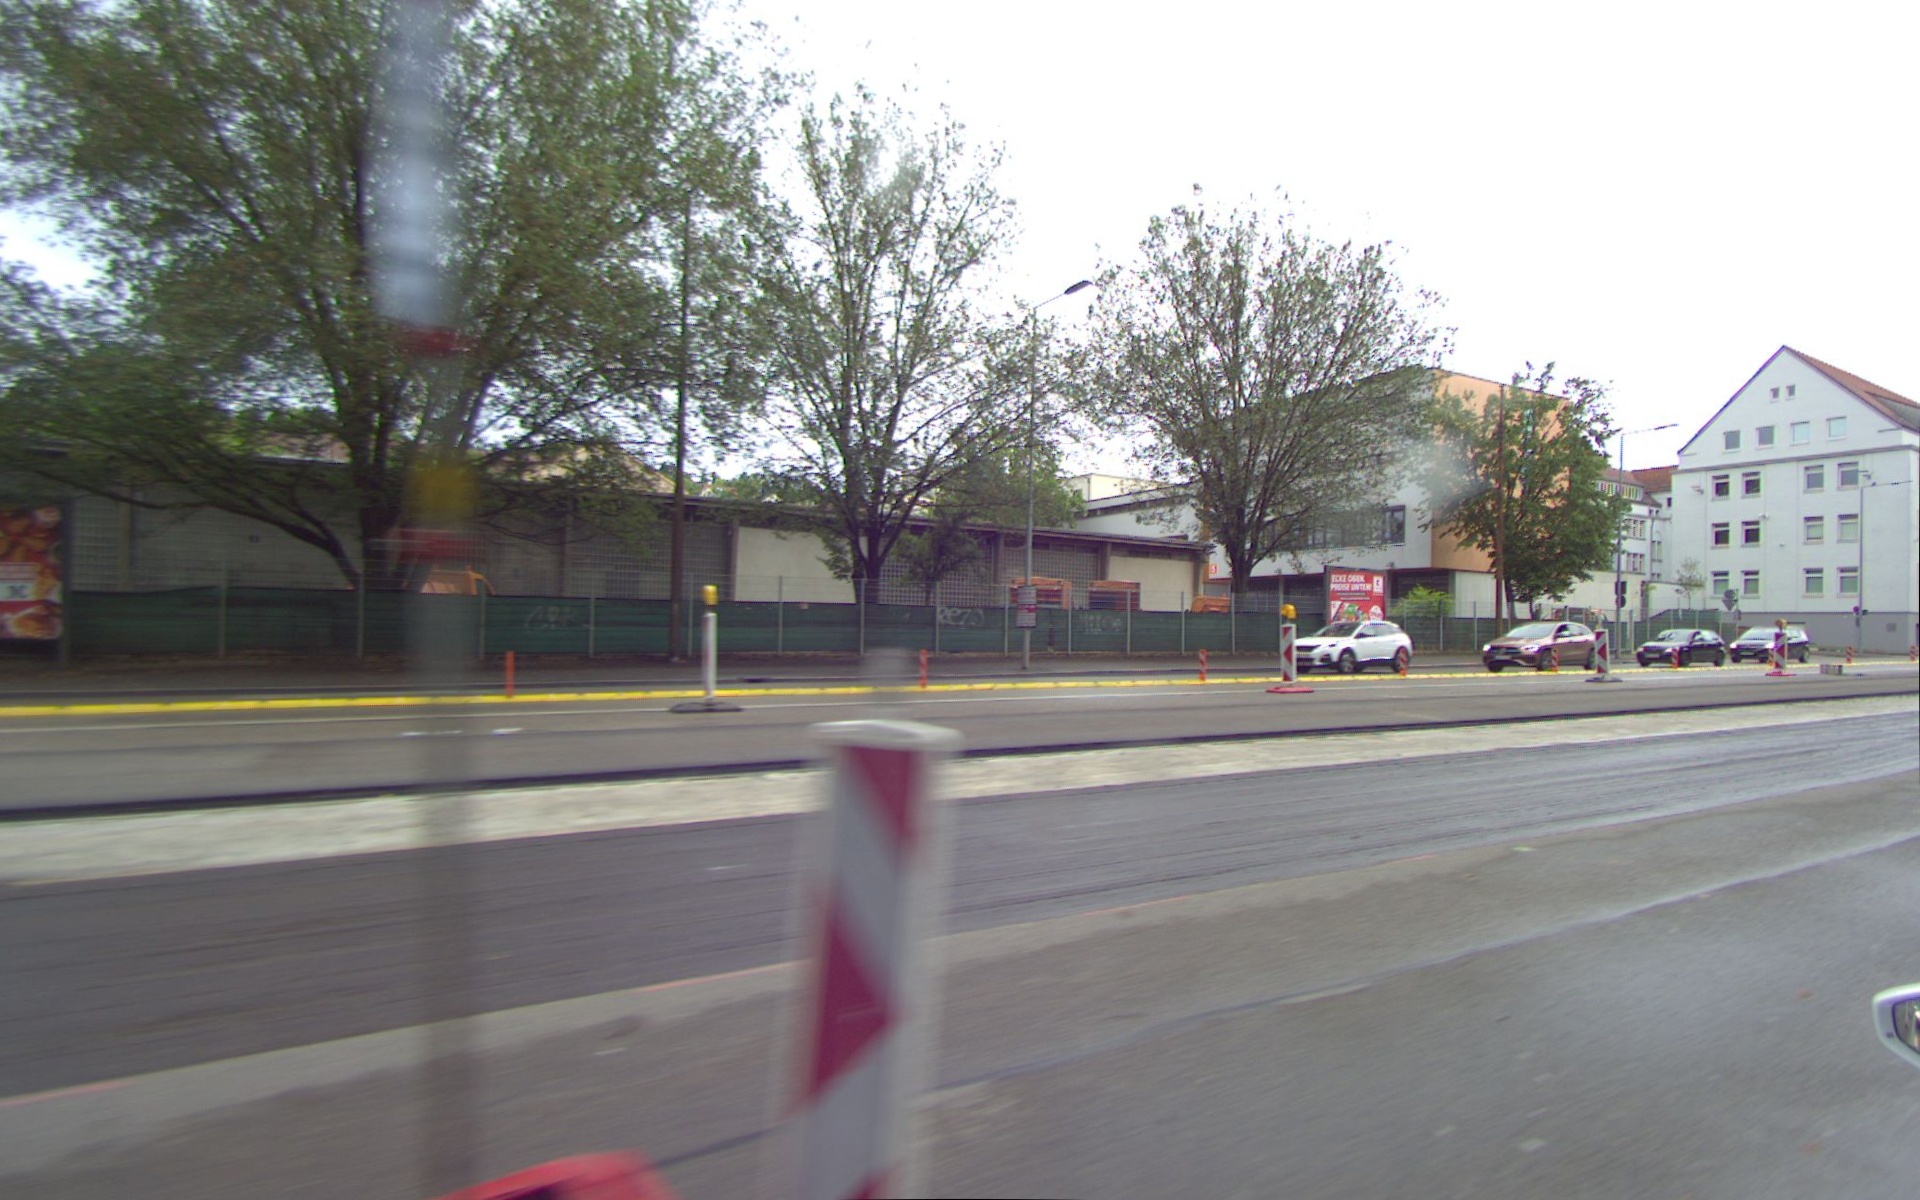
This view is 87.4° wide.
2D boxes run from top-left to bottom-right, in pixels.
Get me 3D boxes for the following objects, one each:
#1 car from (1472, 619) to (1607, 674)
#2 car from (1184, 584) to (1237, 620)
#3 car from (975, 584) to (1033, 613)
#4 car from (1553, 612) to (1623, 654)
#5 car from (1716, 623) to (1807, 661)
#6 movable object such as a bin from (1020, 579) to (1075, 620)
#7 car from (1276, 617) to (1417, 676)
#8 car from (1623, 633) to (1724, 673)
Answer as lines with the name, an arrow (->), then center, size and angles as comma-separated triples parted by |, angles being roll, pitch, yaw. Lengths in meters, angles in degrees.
car -> 18.623, 1.506, 32.241 | 4.314, 1.640, 1.851 | 2, -4, -31
car -> 11.469, 0.123, 46.181 | 1.959, 1.548, 4.026 | 0, -1, 8
car -> 1.854, -0.043, 41.276 | 1.718, 1.076, 4.026 | 0, -1, 13
car -> 33.593, 1.752, 53.681 | 3.955, 2.199, 1.601 | 1, -1, -32
car -> 37.029, 1.957, 46.389 | 4.278, 1.651, 1.851 | 2, -4, -30
movable object such as a bin -> 3.612, 0.028, 40.893 | 1.718, 1.548, 4.026 | 0, -1, 13
car -> 12.109, 1.459, 31.416 | 4.314, 1.728, 1.851 | 2, -4, -31
car -> 27.994, 2.067, 39.385 | 3.688, 1.495, 1.851 | 2, -4, -30
